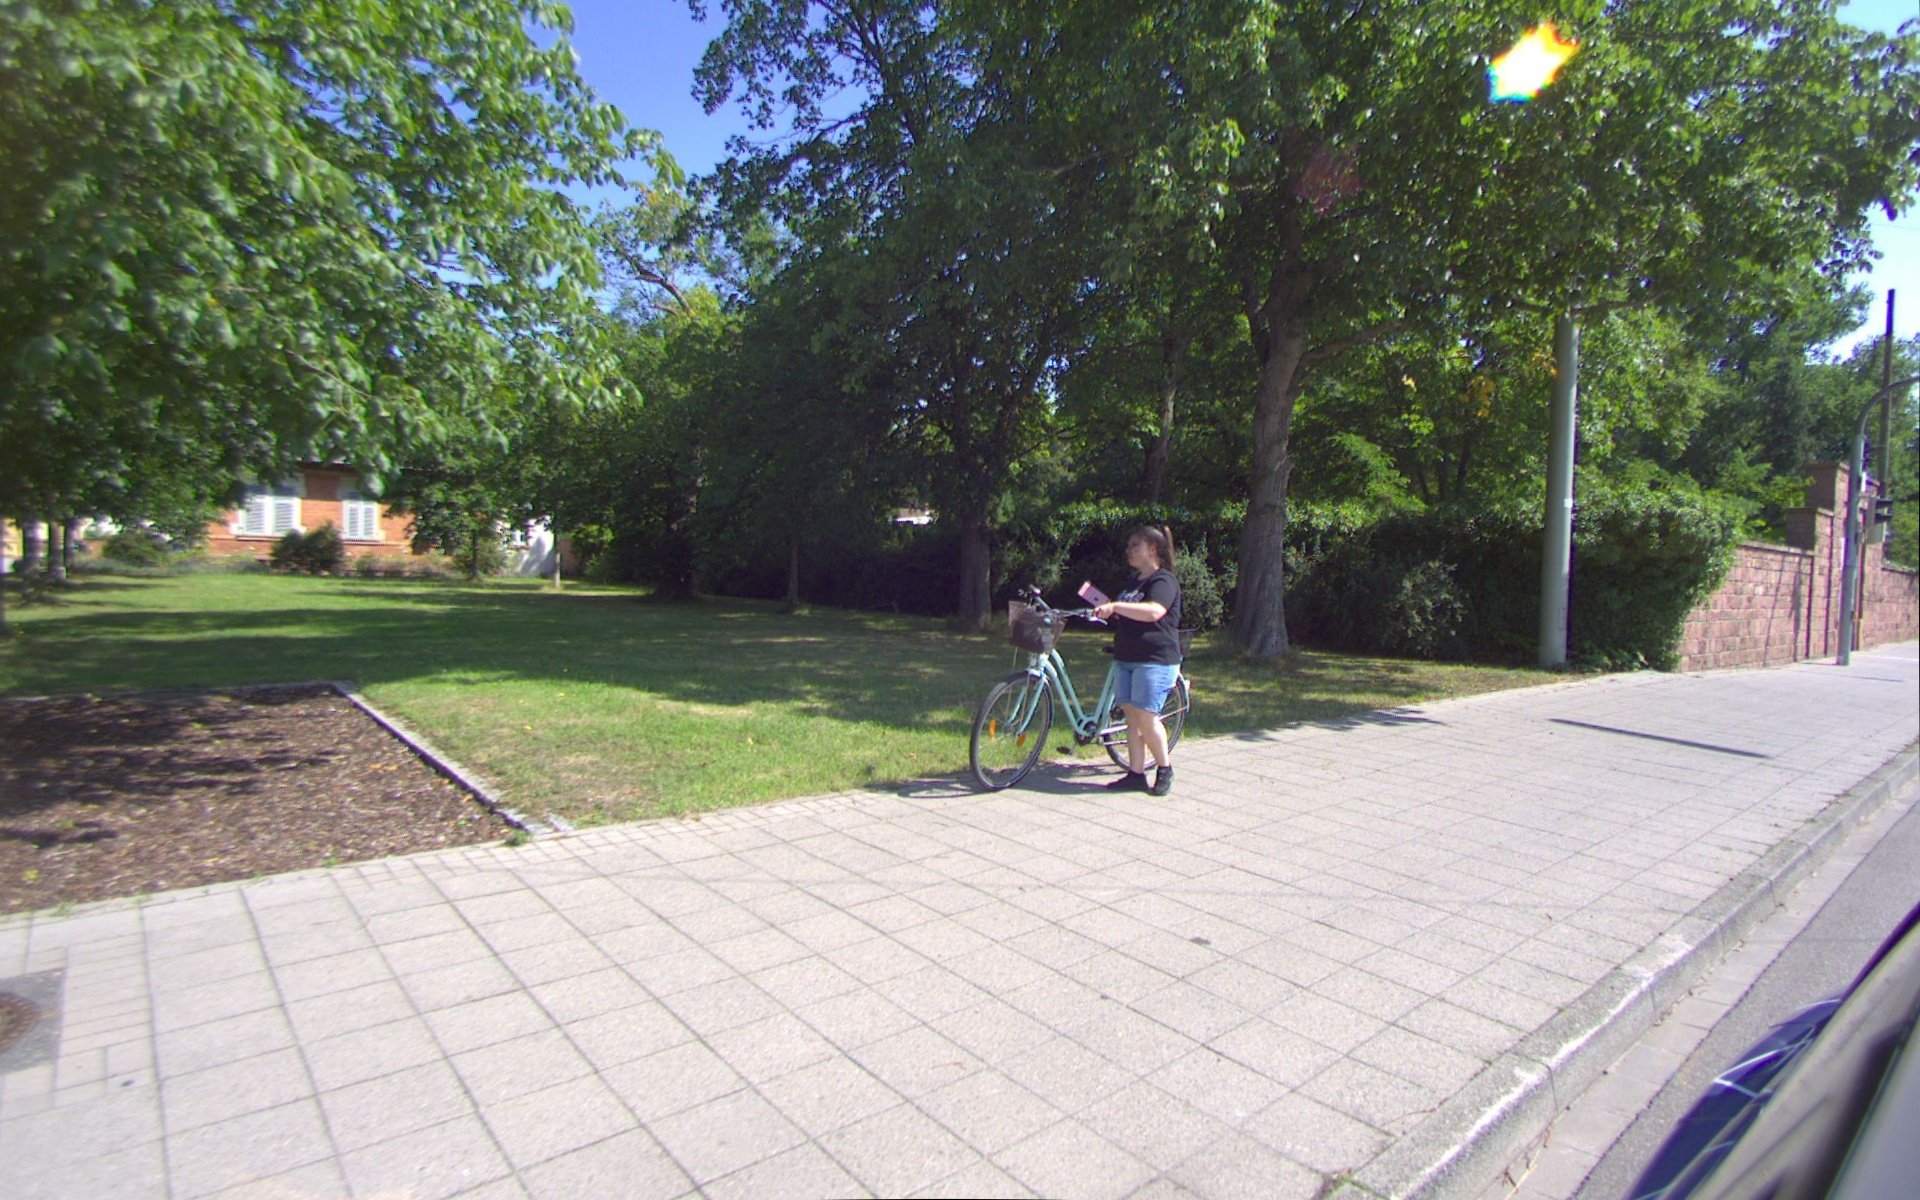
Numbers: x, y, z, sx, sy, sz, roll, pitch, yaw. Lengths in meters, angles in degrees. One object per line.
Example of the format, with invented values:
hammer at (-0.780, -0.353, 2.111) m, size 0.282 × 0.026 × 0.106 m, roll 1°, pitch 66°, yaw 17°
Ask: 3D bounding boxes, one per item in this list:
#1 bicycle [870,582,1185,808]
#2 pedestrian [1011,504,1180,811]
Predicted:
bicycle at (0.419, 0.482, 5.803) m, size 1.770 × 1.125 × 0.538 m, roll 0°, pitch 3°, yaw -30°
pedestrian at (0.745, 0.282, 5.588) m, size 0.651 × 1.567 × 0.542 m, roll 1°, pitch 4°, yaw -40°
